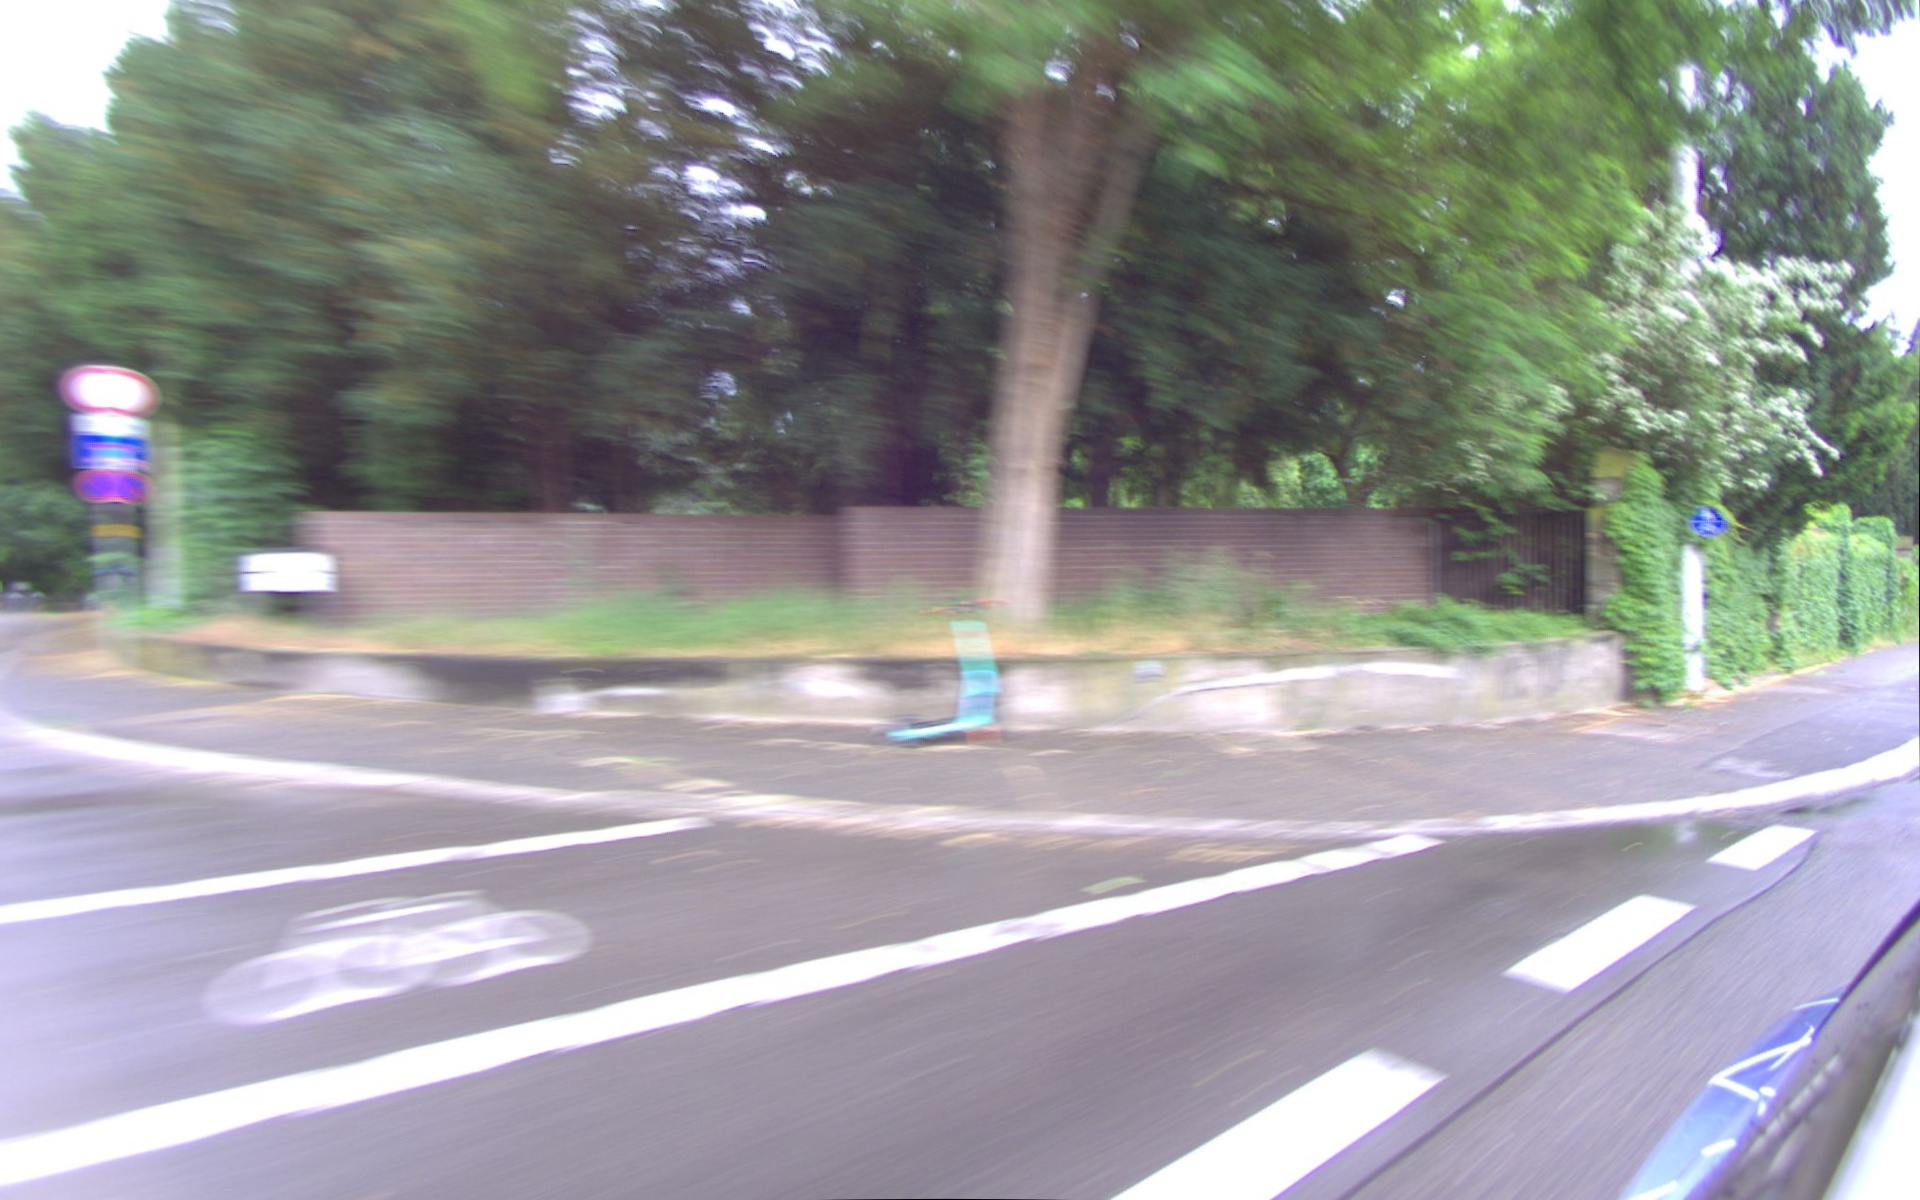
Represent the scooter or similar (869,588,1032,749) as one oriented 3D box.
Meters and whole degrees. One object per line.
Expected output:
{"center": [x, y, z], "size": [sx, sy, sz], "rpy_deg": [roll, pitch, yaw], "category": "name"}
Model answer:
{"center": [-0.072, 0.538, 8.602], "size": [1.289, 1.245, 0.516], "rpy_deg": [-1, 4, -34], "category": "scooter or similar"}
